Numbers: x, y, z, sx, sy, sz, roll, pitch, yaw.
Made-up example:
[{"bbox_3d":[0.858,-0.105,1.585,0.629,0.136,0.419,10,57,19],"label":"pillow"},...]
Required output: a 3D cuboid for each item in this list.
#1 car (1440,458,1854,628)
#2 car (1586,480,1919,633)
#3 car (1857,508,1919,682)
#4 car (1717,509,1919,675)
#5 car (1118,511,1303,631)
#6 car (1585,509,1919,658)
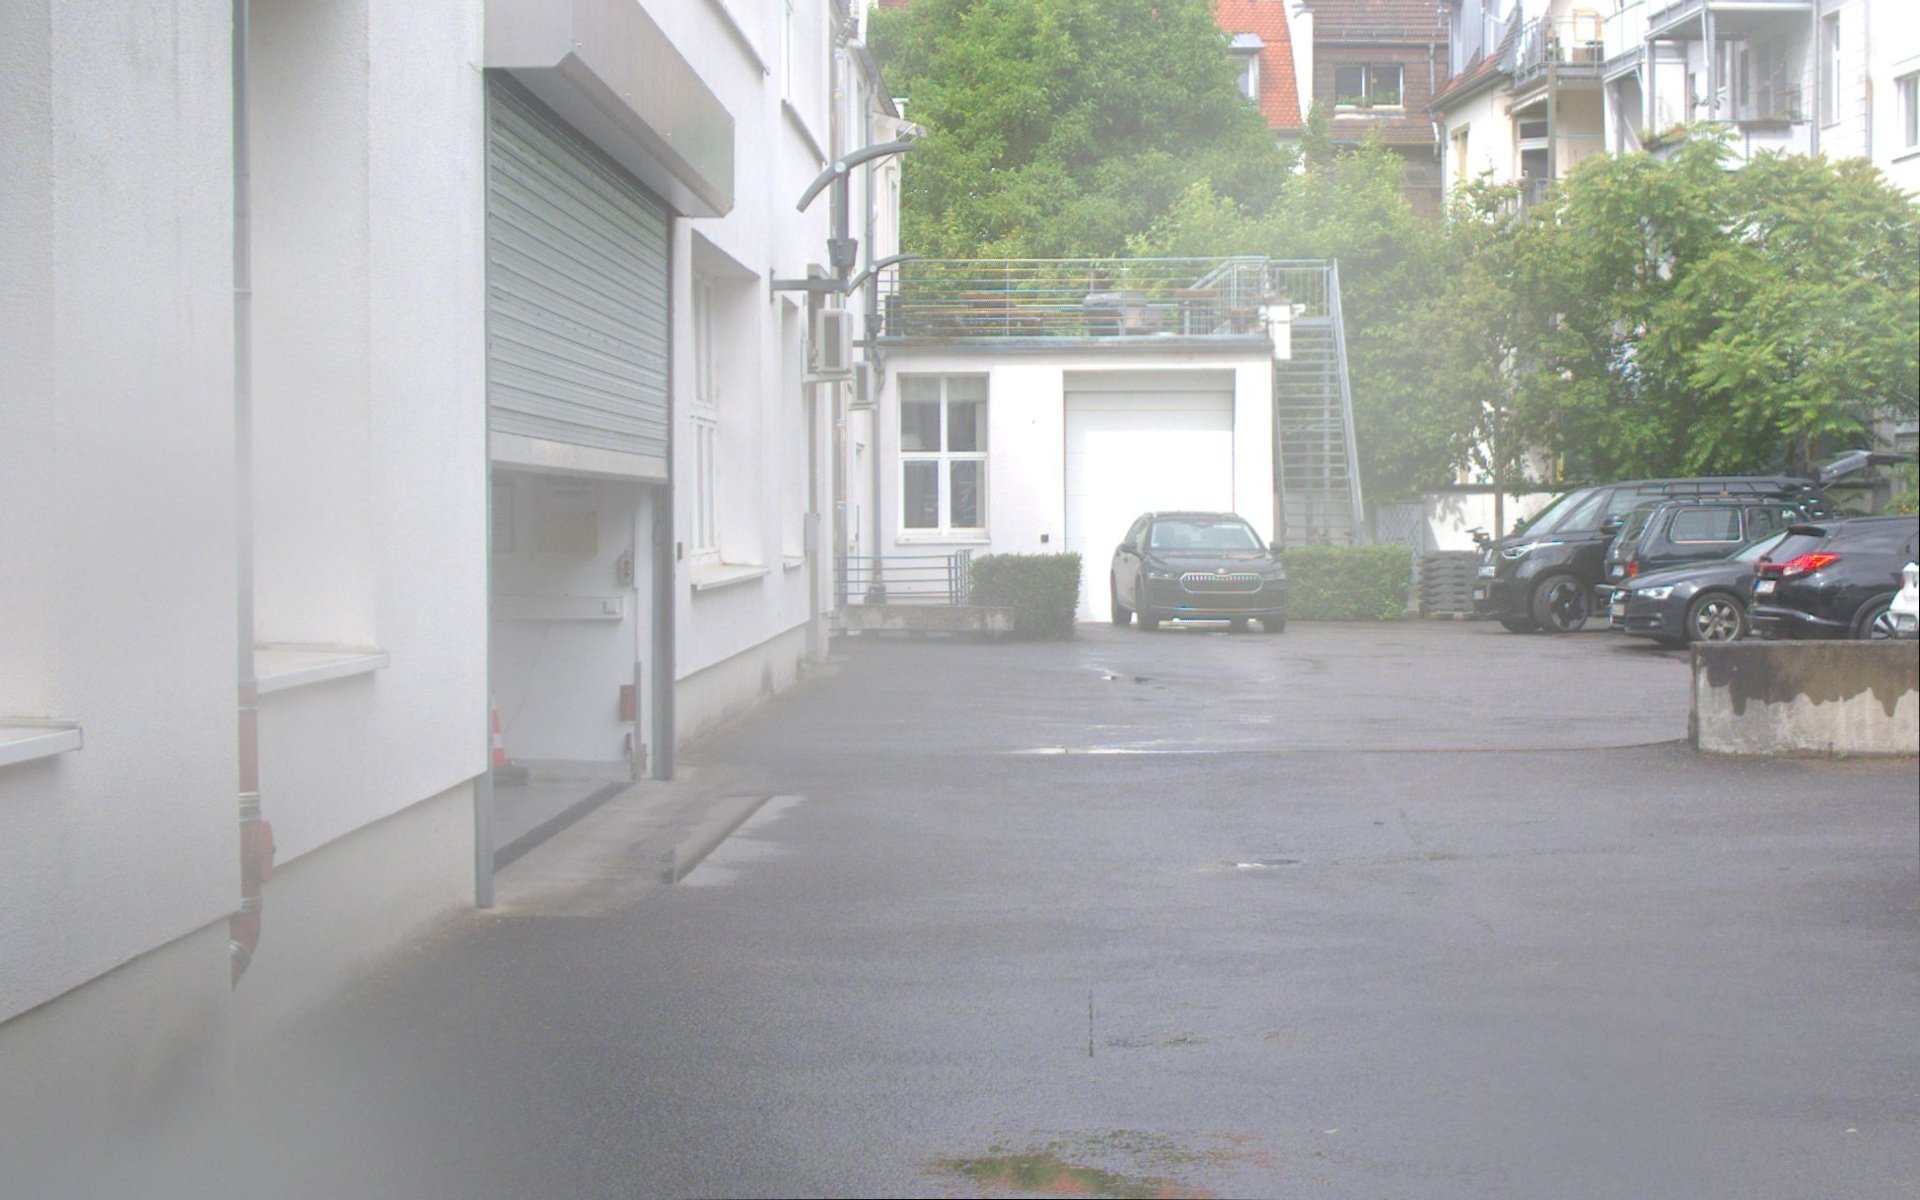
[{"bbox_3d":[8.664,-0.749,43.551,4.634,1.996,2.226,-1,2,-9],"label":"car"},{"bbox_3d":[9.555,-0.522,40.722,3.909,1.681,1.817,-1,1,0],"label":"car"},{"bbox_3d":[9.983,-0.089,29.602,3.986,1.453,1.773,-1,1,-4],"label":"car"},{"bbox_3d":[9.455,-0.116,32.924,3.908,1.508,1.820,-1,1,-6],"label":"car"},{"bbox_3d":[3.103,-0.401,43.315,1.979,1.439,4.000,0,1,-1],"label":"car"},{"bbox_3d":[8.969,-0.198,37.452,3.908,1.508,1.752,-1,1,-3],"label":"car"}]
